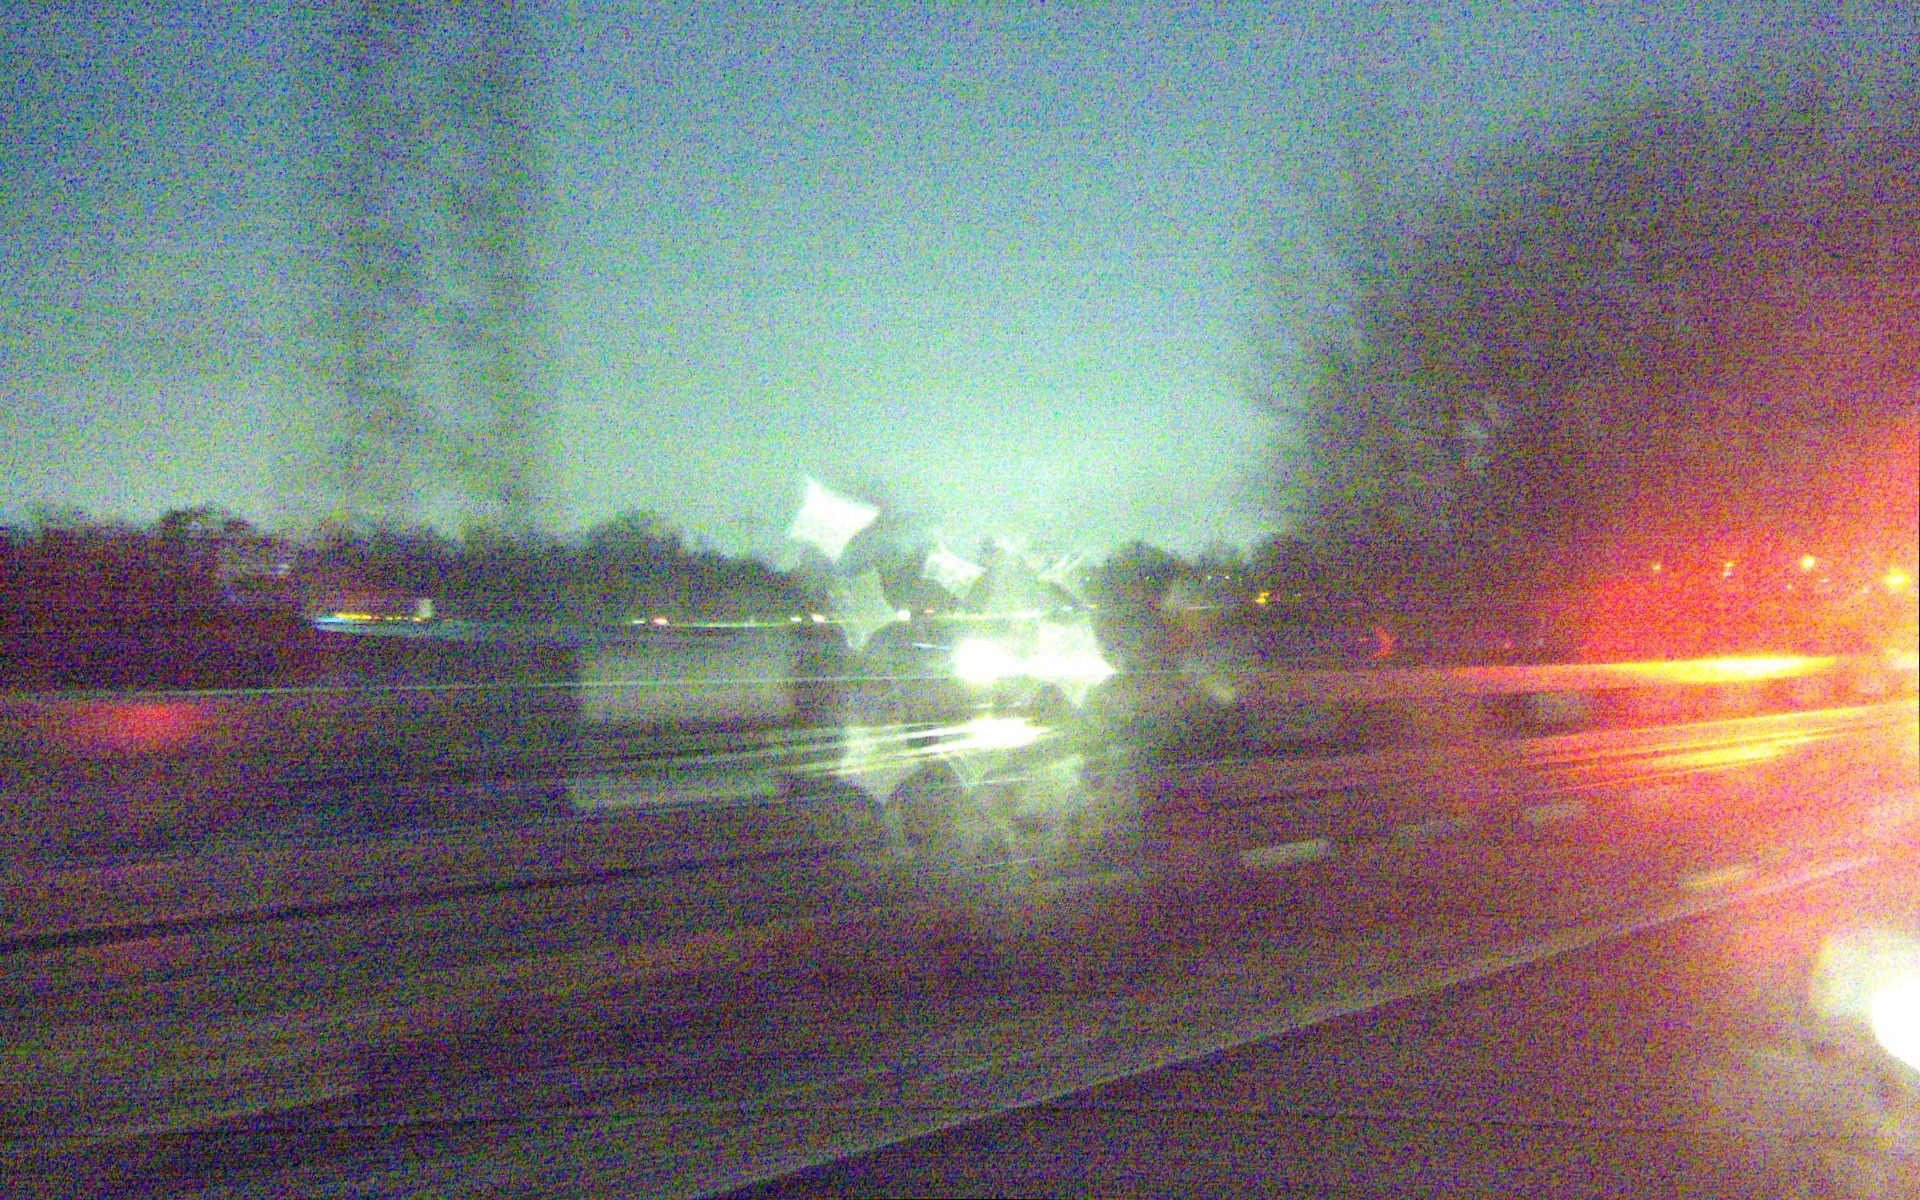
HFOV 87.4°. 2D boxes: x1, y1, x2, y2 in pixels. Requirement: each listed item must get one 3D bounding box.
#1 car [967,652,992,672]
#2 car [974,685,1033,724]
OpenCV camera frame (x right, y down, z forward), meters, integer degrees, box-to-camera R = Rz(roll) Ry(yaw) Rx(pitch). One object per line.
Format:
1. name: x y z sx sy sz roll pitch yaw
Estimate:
1. car: 1.620 5.178 84.255 1.478 1.446 3.425 3 -2 -10
2. car: 2.074 4.834 46.797 1.711 1.444 4.101 1 -1 18
